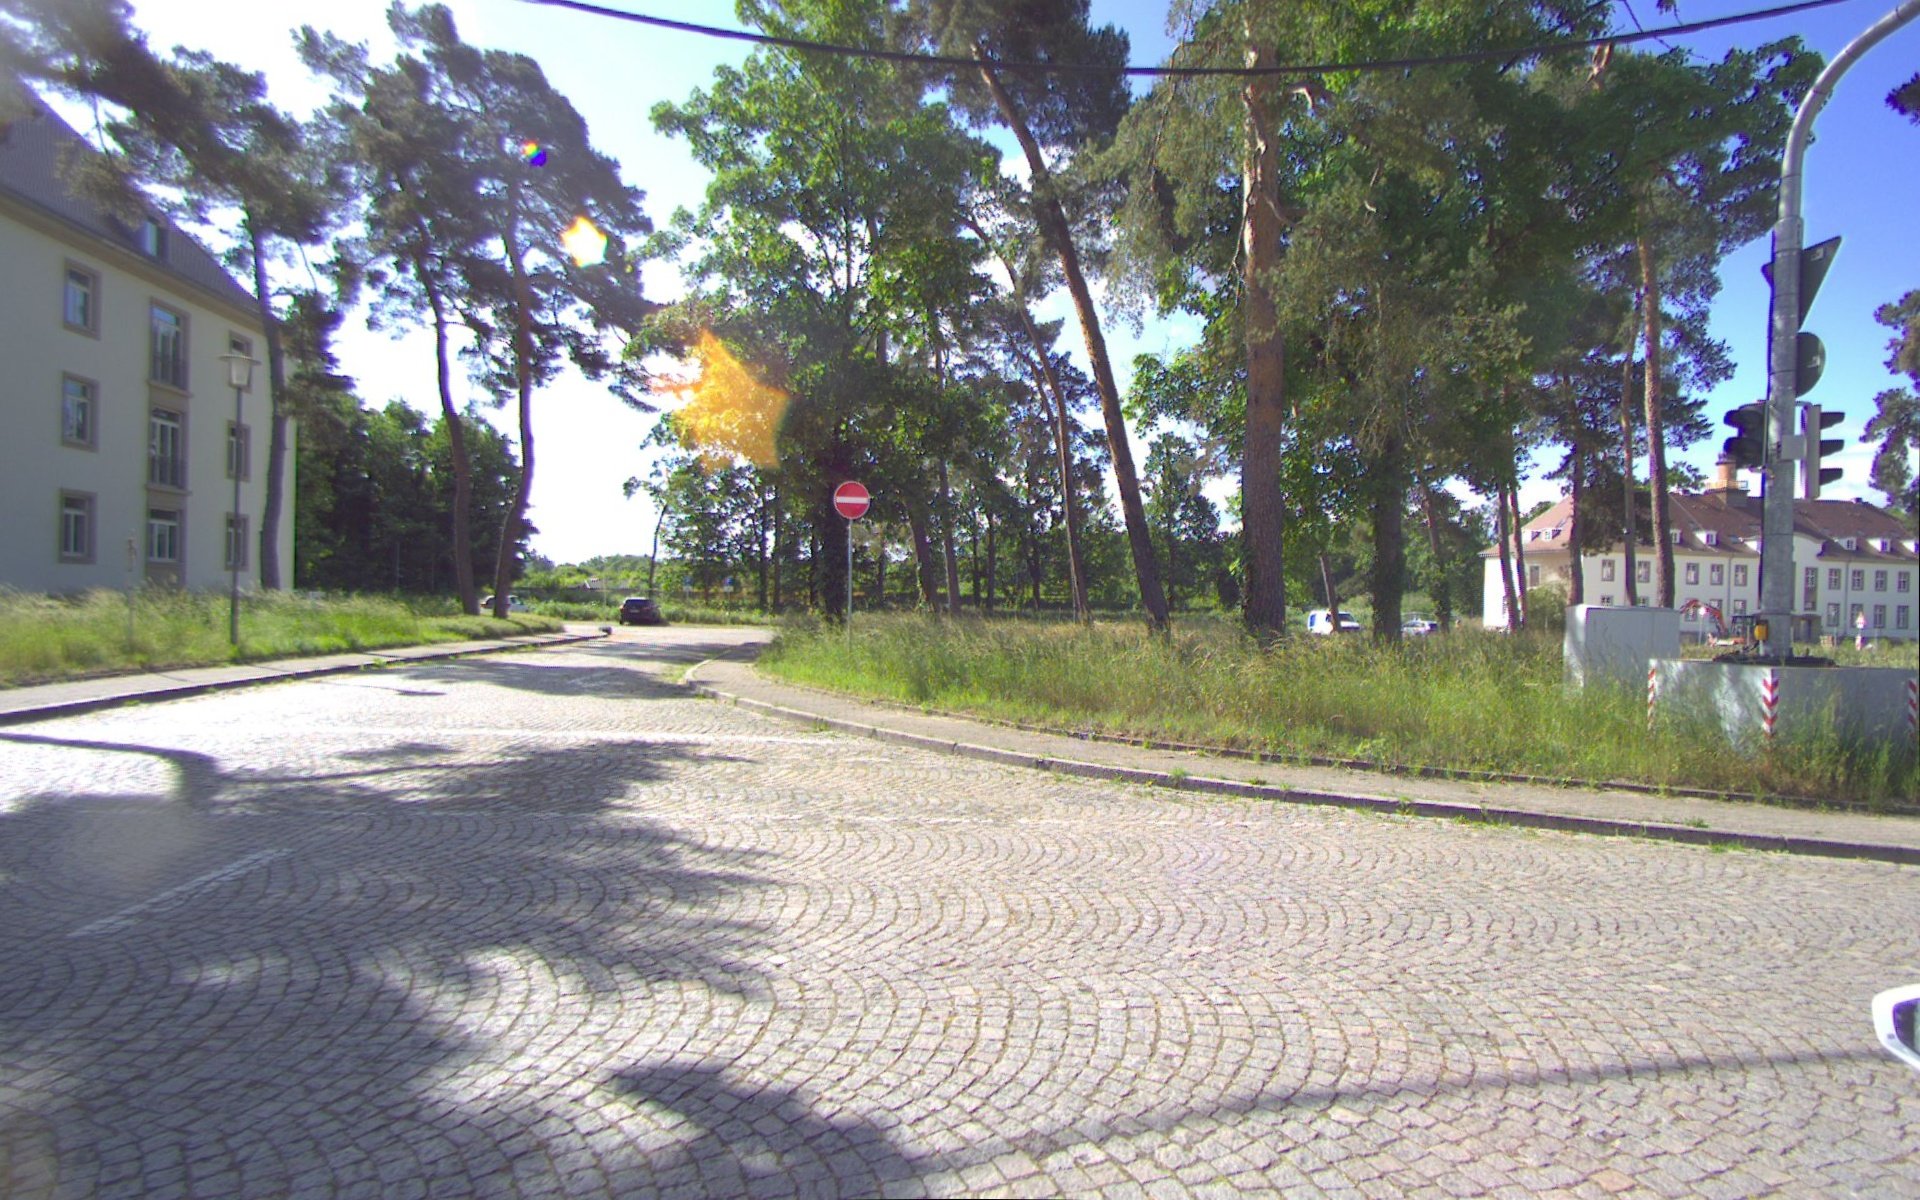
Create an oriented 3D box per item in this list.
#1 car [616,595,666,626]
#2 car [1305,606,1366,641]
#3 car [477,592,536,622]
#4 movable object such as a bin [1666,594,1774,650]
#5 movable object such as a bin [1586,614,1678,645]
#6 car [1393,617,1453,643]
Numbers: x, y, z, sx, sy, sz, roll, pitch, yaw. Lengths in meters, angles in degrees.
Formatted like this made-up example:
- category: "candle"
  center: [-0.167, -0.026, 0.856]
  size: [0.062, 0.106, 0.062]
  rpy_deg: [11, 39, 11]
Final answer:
- category: "car"
  center: [-17.973, 0.608, 56.824]
  size: [1.806, 1.651, 4.057]
  rpy_deg: [1, -1, -5]
- category: "car"
  center: [25.543, 1.569, 68.470]
  size: [1.920, 2.193, 4.857]
  rpy_deg: [2, -1, -6]
- category: "car"
  center: [-25.432, 0.395, 56.483]
  size: [1.687, 1.601, 4.106]
  rpy_deg: [2, -1, -5]
- category: "movable object such as a bin"
  center: [53.950, 1.574, 71.311]
  size: [6.715, 3.780, 3.898]
  rpy_deg: [2, -1, -31]
- category: "movable object such as a bin"
  center: [50.960, 2.195, 76.178]
  size: [5.592, 2.154, 2.517]
  rpy_deg: [1, -1, 39]
- category: "car"
  center: [31.986, 2.049, 69.547]
  size: [1.876, 1.626, 4.239]
  rpy_deg: [2, -1, -6]
